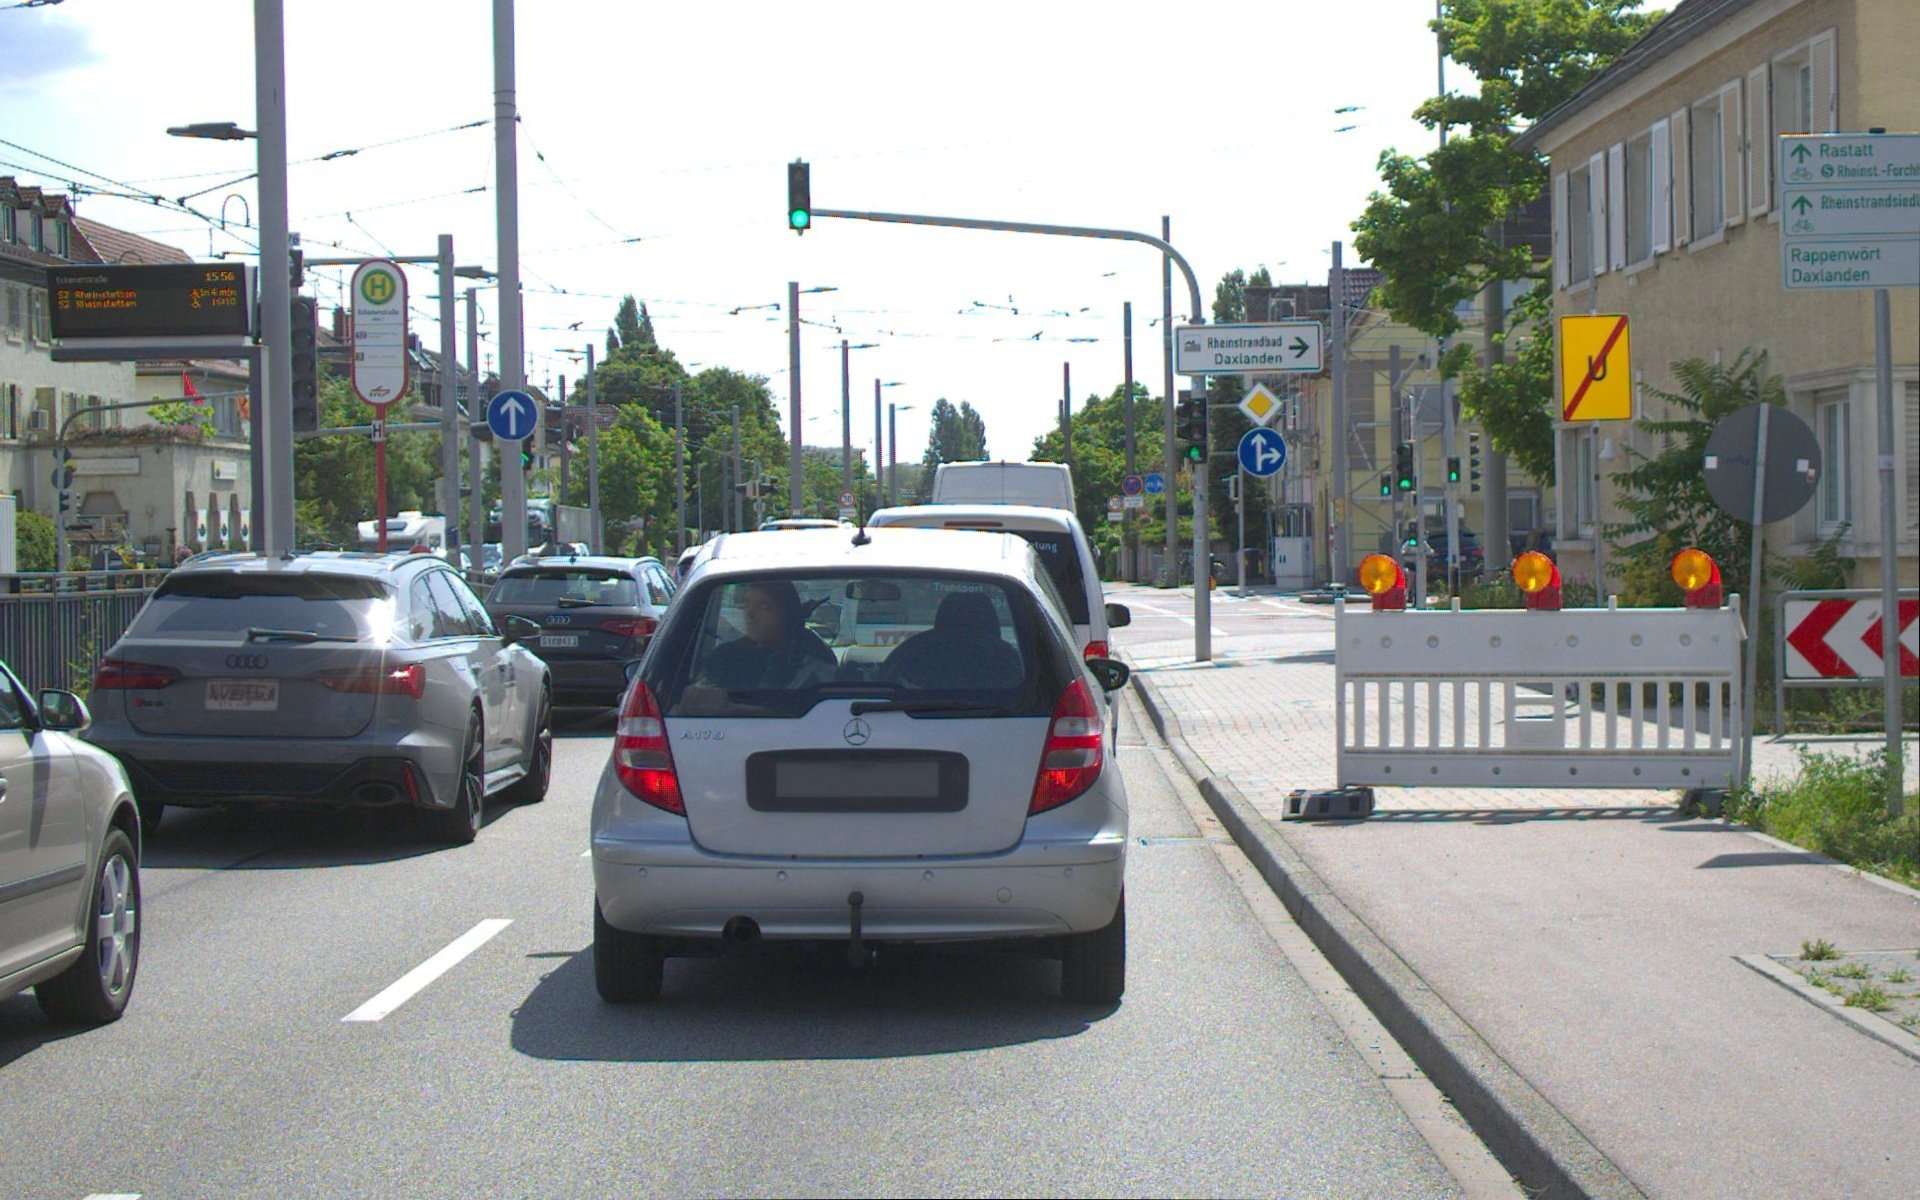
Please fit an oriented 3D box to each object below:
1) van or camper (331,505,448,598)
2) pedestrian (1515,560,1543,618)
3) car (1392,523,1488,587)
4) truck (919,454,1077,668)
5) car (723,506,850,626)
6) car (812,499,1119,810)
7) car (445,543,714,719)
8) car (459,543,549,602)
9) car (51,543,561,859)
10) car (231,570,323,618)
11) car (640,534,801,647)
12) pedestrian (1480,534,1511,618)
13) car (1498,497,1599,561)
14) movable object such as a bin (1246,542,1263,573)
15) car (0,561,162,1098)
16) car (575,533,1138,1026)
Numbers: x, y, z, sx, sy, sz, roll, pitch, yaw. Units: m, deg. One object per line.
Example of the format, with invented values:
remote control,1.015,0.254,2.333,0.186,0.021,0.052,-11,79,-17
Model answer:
van or camper,-18.914,-1.612,114.450,2.324,2.920,7.754,-2,1,2
pedestrian,11.170,-0.223,67.543,0.488,1.132,0.389,1,0,3
car,12.483,-1.161,89.634,1.993,1.590,4.131,1,0,1
truck,0.425,-0.494,44.155,1.852,2.543,5.855,1,0,-1
car,-2.749,-0.547,55.203,1.852,1.837,3.919,1,0,-1
car,-0.008,0.293,21.615,1.730,1.756,4.017,1,0,-1
car,-3.194,0.228,29.689,1.852,1.383,4.514,1,0,-1
car,-14.734,-0.907,111.265,1.994,1.770,4.878,-2,1,3
car,-3.366,0.449,18.580,1.916,1.472,4.562,1,1,-1
car,-19.602,-0.191,98.852,1.684,1.347,4.345,1,0,1
car,-3.080,-0.134,44.838,1.852,1.383,3.919,1,0,-1
pedestrian,10.507,-0.473,67.463,0.547,1.638,0.401,1,0,6
car,15.321,-1.825,89.740,1.993,1.590,4.131,1,0,1
movable object such as a bin,9.106,-1.316,106.374,0.468,0.943,0.558,-1,0,1
car,-3.439,0.608,9.091,1.731,1.444,4.123,1,0,-1
car,-0.363,0.542,12.698,1.730,1.512,4.017,1,0,-1
